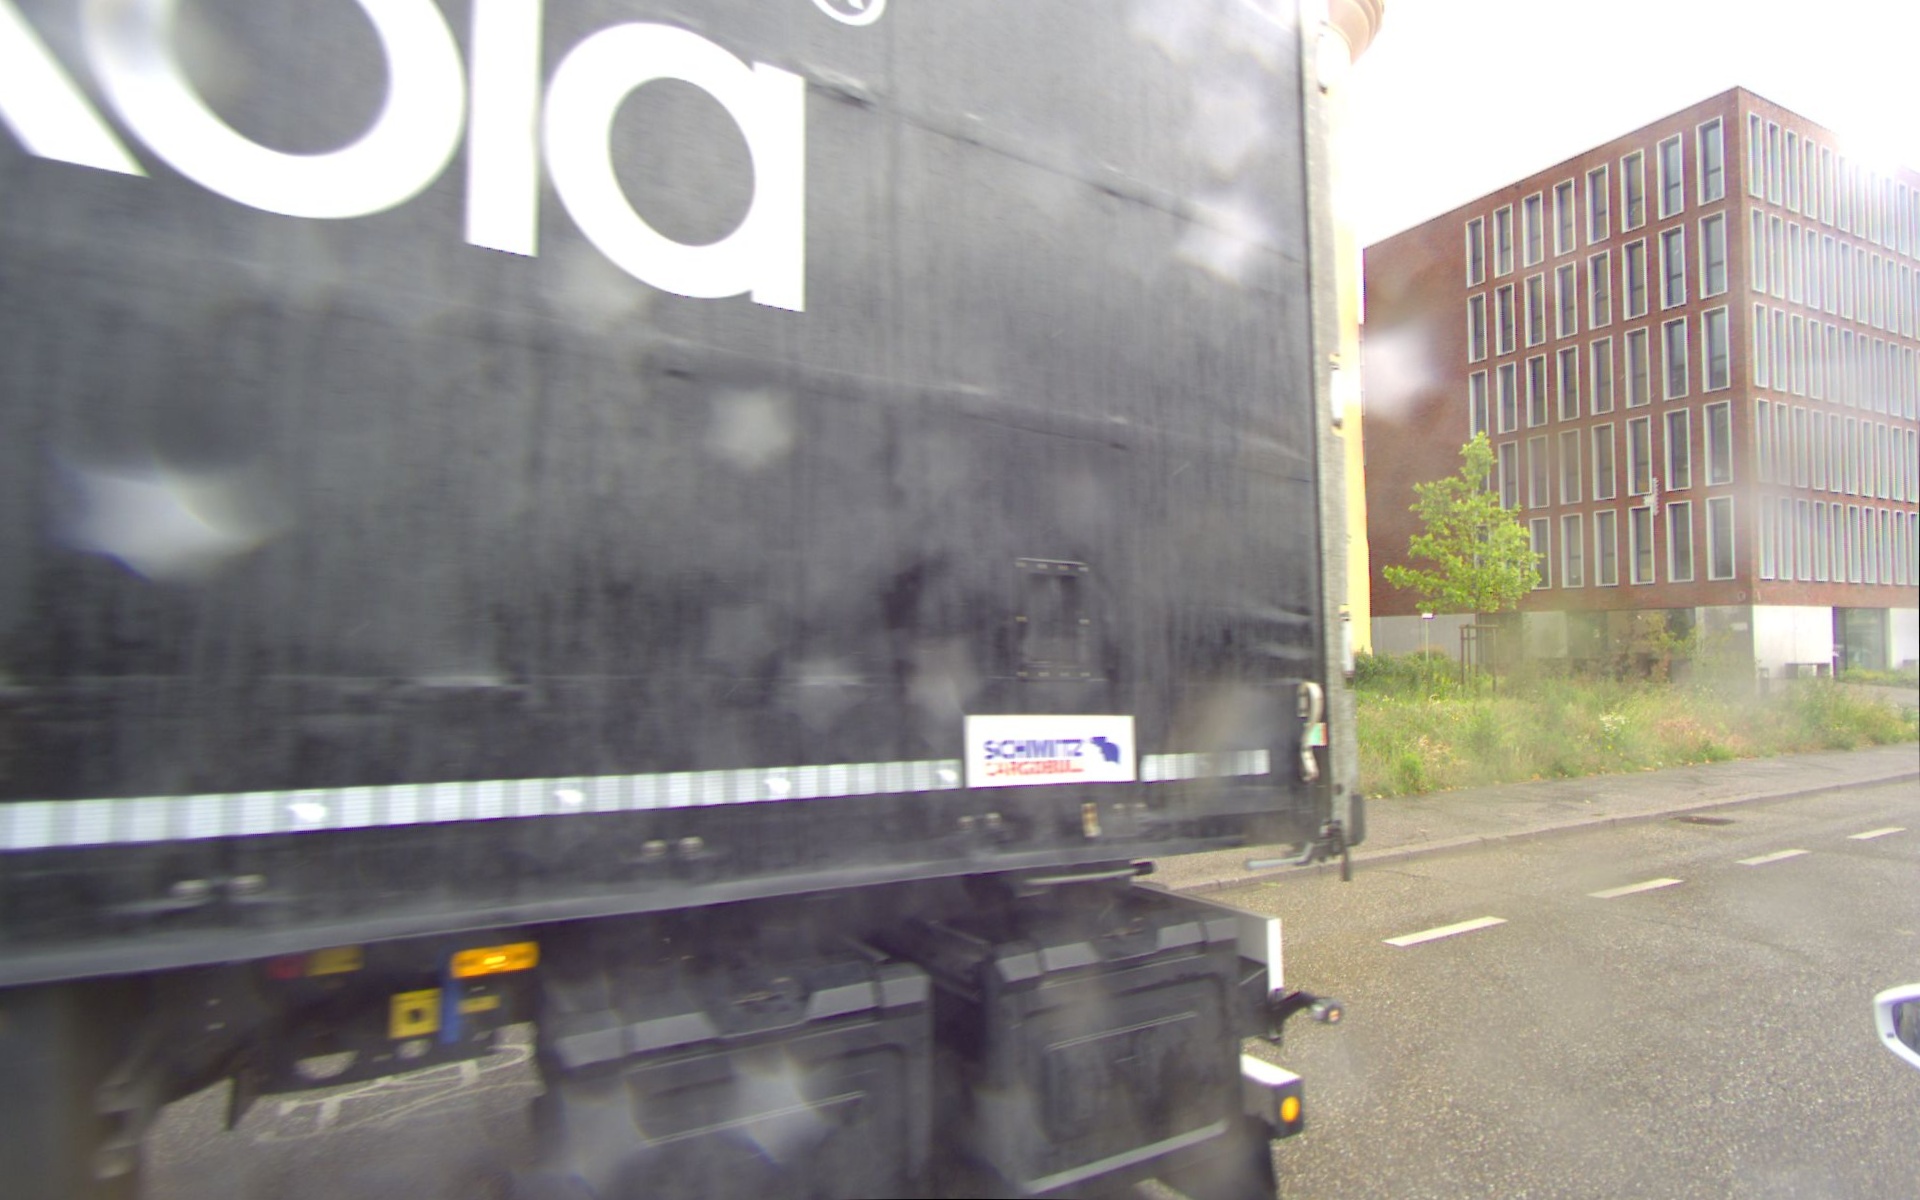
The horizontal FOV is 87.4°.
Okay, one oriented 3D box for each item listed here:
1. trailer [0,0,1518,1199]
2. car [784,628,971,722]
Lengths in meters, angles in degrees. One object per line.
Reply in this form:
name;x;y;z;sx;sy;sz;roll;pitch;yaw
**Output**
trailer;-5.491;-0.589;0.194;13.571;4.714;3.279;2;-3;-30
car;-1.801;1.466;20.434;1.978;1.662;4.497;2;-3;-32
